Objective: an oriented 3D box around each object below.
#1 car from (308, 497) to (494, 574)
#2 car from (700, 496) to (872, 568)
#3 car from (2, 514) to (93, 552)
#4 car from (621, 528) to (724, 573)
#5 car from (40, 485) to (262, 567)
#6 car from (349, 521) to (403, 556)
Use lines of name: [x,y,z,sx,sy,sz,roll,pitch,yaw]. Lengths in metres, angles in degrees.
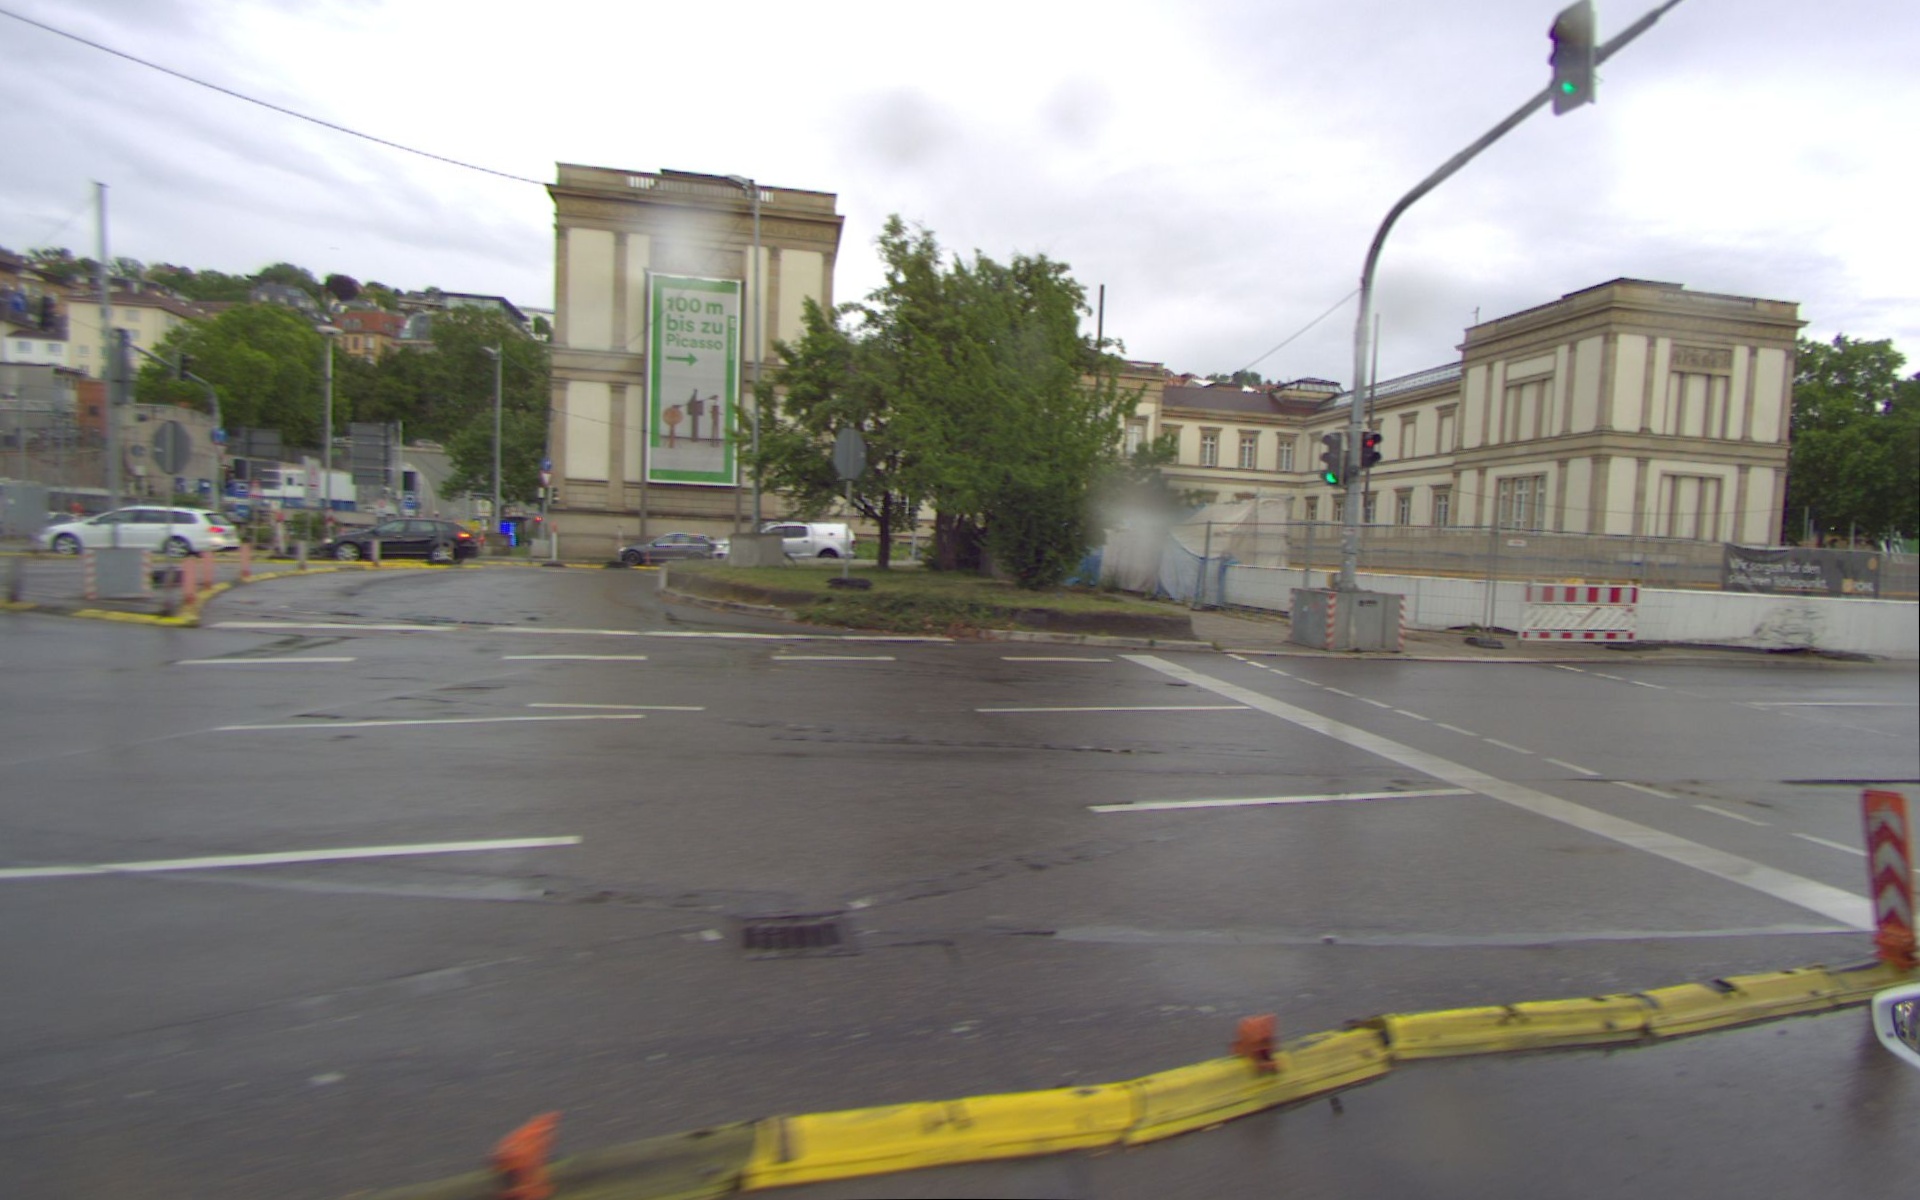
car: [-17.070,-1.994,30.918,4.611,2.041,1.994,2,5,-14]
car: [-6.221,-2.415,35.959,5.608,2.203,2.355,1,5,-27]
car: [-54.404,-4.043,59.982,1.963,2.041,3.995,3,5,-6]
car: [-12.752,-2.226,44.764,4.119,1.724,1.819,3,5,-10]
car: [-23.367,-2.150,29.223,4.563,2.041,1.994,2,5,-14]
car: [-37.809,-4.006,65.150,1.967,2.041,3.987,2,5,-15]
